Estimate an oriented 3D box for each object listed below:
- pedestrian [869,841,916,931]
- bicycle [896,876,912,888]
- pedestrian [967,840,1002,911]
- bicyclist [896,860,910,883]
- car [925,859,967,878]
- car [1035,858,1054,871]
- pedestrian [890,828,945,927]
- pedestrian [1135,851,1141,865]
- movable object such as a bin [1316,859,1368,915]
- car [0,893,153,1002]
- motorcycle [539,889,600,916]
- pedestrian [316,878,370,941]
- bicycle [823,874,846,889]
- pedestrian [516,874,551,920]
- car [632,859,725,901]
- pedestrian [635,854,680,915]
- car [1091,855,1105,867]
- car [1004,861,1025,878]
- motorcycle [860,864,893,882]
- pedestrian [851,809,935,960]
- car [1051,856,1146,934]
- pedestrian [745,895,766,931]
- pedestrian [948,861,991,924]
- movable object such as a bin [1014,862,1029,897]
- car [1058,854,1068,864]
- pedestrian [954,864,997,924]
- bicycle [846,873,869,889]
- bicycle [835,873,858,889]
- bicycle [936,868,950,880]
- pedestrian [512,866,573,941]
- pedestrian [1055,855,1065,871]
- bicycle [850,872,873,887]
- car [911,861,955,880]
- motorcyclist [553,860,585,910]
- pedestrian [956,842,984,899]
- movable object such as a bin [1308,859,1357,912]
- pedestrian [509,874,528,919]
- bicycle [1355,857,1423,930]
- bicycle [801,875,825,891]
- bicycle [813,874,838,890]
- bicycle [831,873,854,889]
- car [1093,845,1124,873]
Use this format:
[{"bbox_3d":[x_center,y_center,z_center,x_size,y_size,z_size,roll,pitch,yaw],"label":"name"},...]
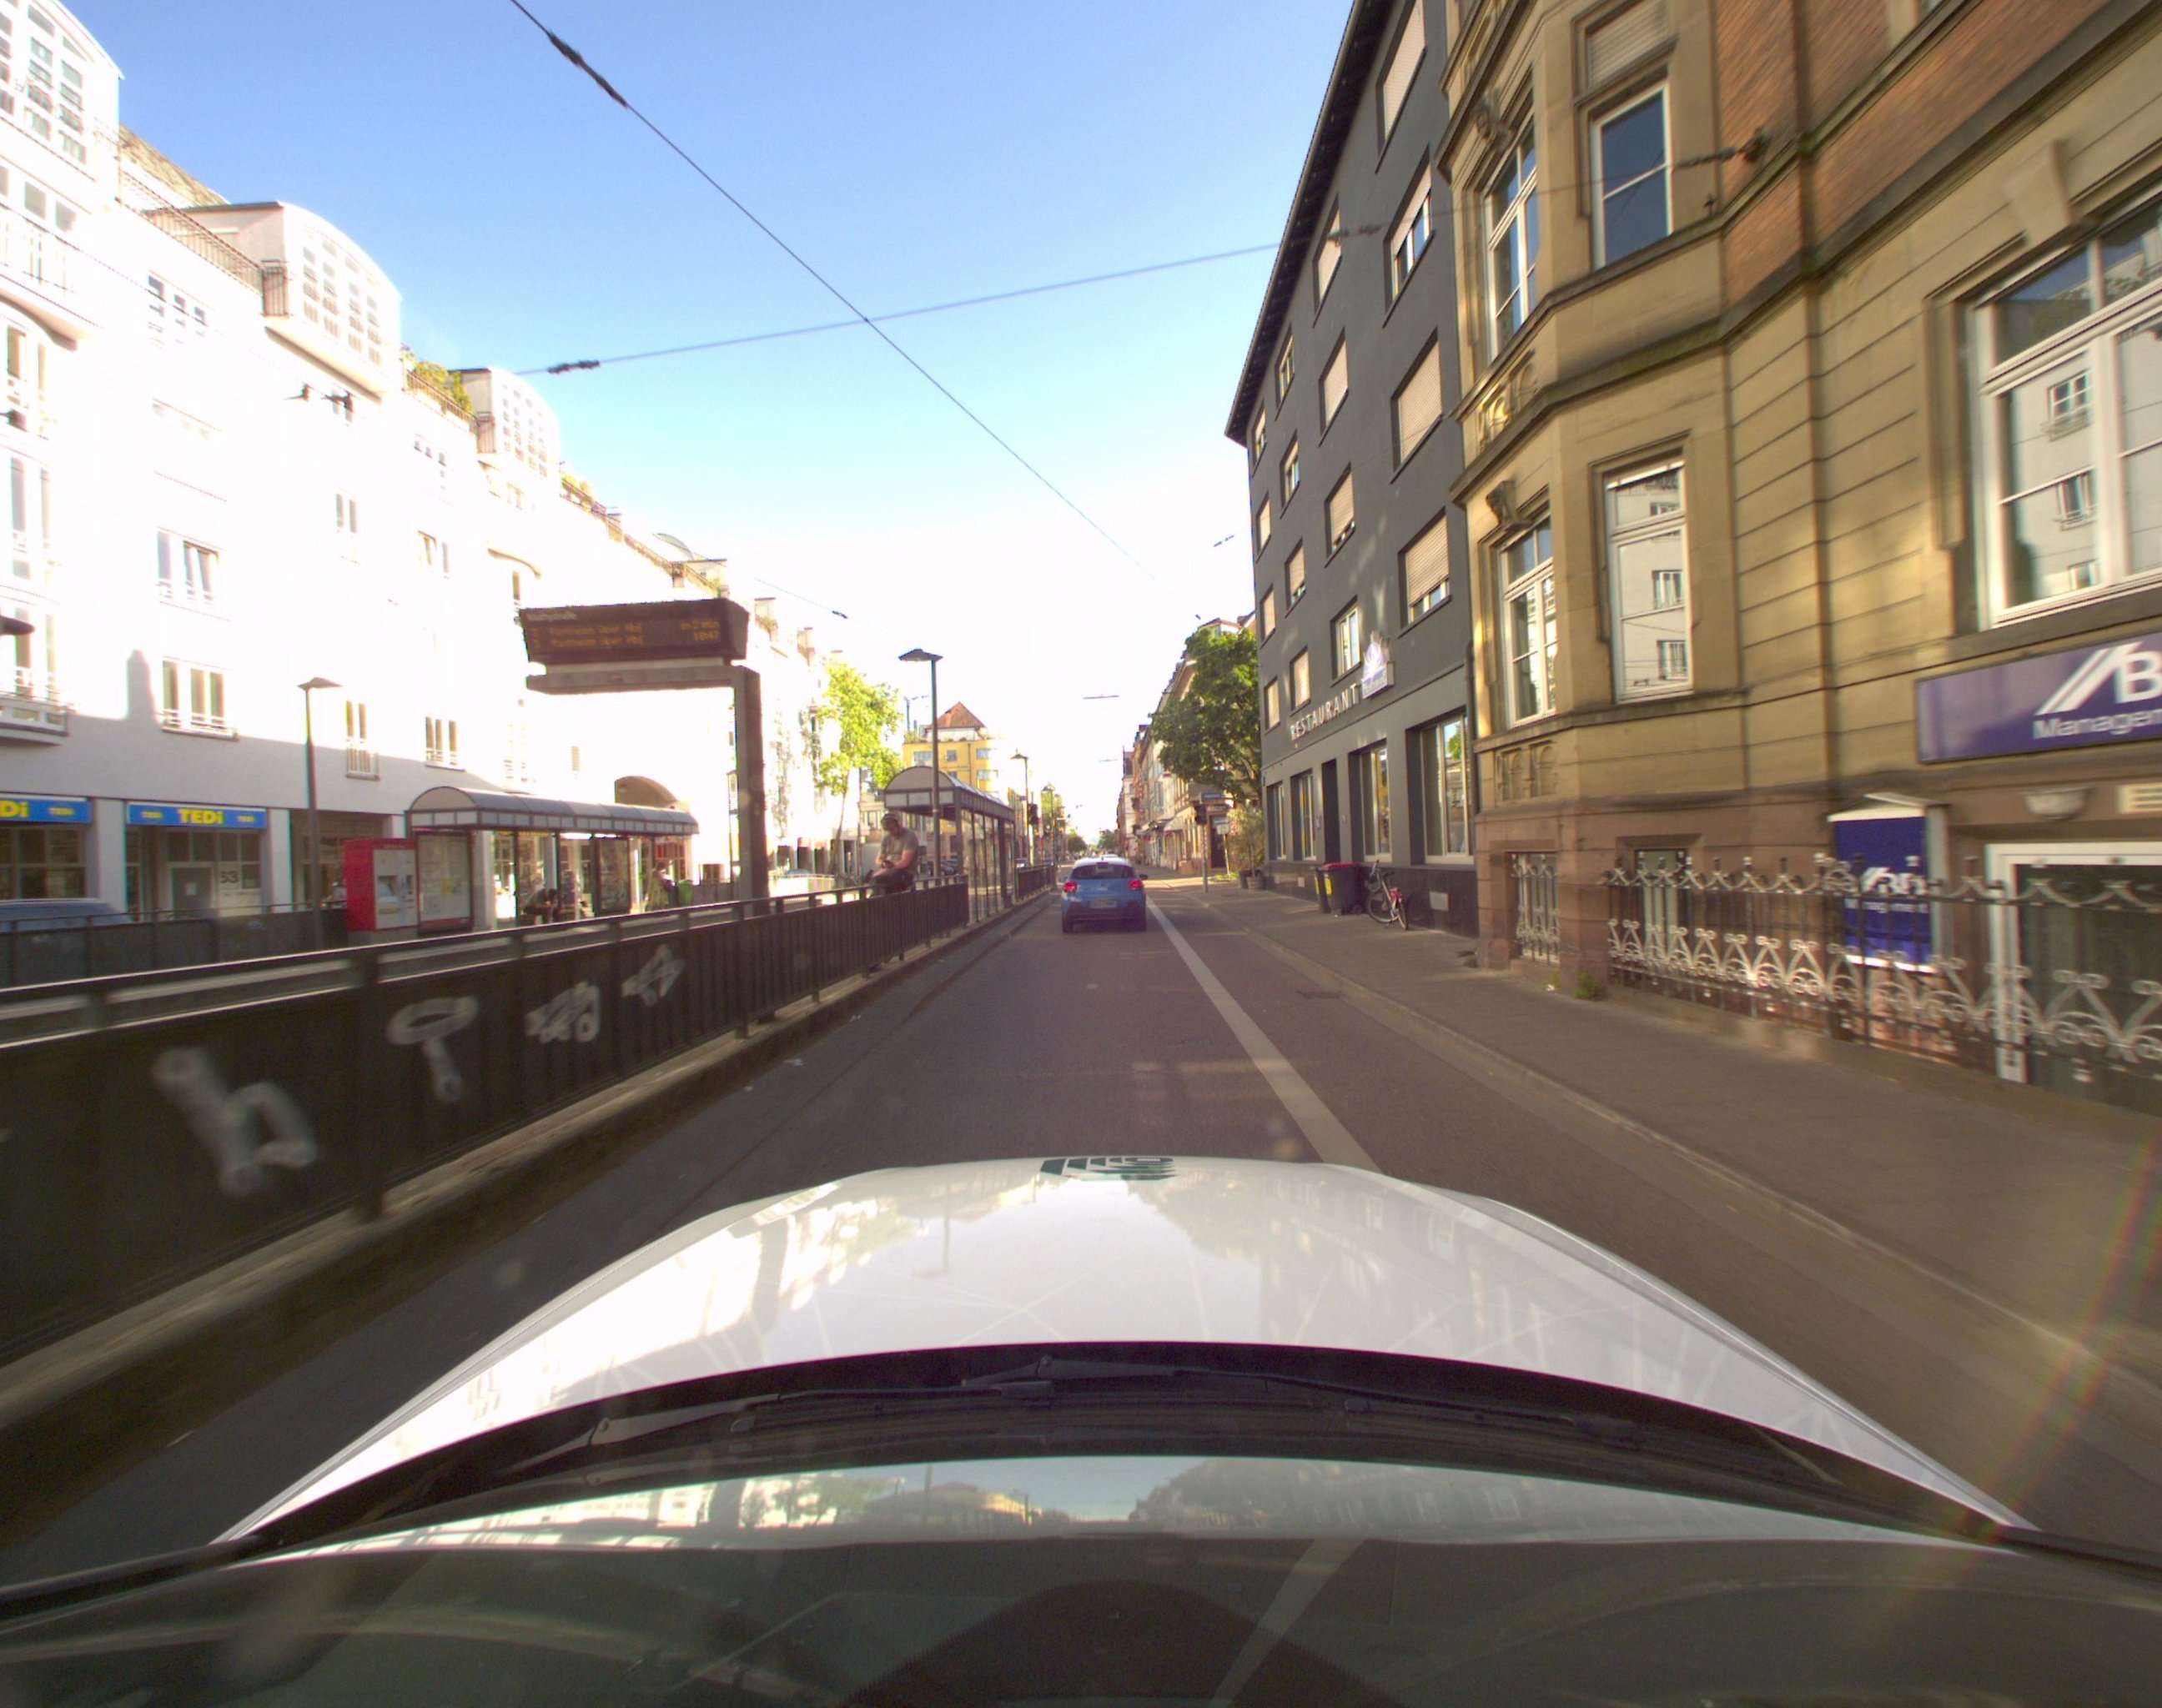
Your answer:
[{"bbox_3d":[-3.373,0.569,14.576,0.579,1.562,0.473,-4,0,37],"label":"pedestrian"},{"bbox_3d":[-12.751,1.999,58.650,0.564,0.757,1.939,-3,0,3],"label":"bicycle"},{"bbox_3d":[-2.464,0.550,20.762,0.566,1.750,0.713,-3,0,-27],"label":"pedestrian"},{"bbox_3d":[-12.817,1.251,58.654,0.669,1.557,0.778,-3,0,2],"label":"bicyclist"},{"bbox_3d":[-14.215,1.501,85.930,3.977,1.848,1.956,-3,0,-2],"label":"car"},{"bbox_3d":[-4.605,1.272,102.732,1.943,1.486,4.003,-4,0,3],"label":"car"},{"bbox_3d":[-3.011,0.426,14.999,0.710,1.777,0.569,-4,0,37],"label":"pedestrian"},{"bbox_3d":[6.960,0.442,99.618,0.690,1.651,0.680,-3,0,1],"label":"pedestrian"},{"bbox_3d":[5.362,0.662,16.763,0.745,1.036,0.754,-7,-1,2],"label":"movable object such as a bin"},{"bbox_3d":[-17.001,1.485,12.280,1.684,1.509,3.648,-3,1,2],"label":"car"},{"bbox_3d":[-15.545,1.469,24.814,0.491,0.720,2.007,-1,-1,3],"label":"motorcycle"},{"bbox_3d":[-20.027,1.492,22.116,0.840,1.621,0.597,-3,0,-3],"label":"pedestrian"},{"bbox_3d":[-16.390,1.815,54.182,0.387,0.941,1.505,-3,0,37],"label":"bicycle"},{"bbox_3d":[-20.201,1.561,30.062,0.593,1.621,0.845,-3,0,2],"label":"pedestrian"},{"bbox_3d":[-15.804,0.994,32.167,1.684,1.421,3.648,-3,1,2],"label":"car"},{"bbox_3d":[-11.220,0.796,21.612,0.729,1.559,0.743,-3,0,0],"label":"pedestrian"},{"bbox_3d":[2.530,1.070,119.595,1.986,1.743,4.001,-1,-1,2],"label":"car"},{"bbox_3d":[-7.117,1.655,87.644,1.747,1.615,4.826,-5,0,-1],"label":"car"},{"bbox_3d":[-16.866,1.552,67.159,2.506,1.288,0.668,-3,0,-2],"label":"motorcycle"},{"bbox_3d":[-2.220,0.358,9.699,0.633,1.698,0.935,-2,-1,9],"label":"pedestrian"},{"bbox_3d":[0.392,0.787,17.352,1.774,1.451,3.655,-1,0,2],"label":"car"},{"bbox_3d":[-14.722,2.680,36.867,0.578,1.559,0.684,-3,0,0],"label":"pedestrian"},{"bbox_3d":[-2.369,0.812,17.395,0.708,1.272,0.657,-3,0,4],"label":"pedestrian"},{"bbox_3d":[-1.780,0.765,24.249,0.345,1.007,0.404,-3,0,3],"label":"movable object such as a bin"},{"bbox_3d":[-3.770,1.121,175.309,1.987,2.014,3.999,-1,-1,0],"label":"car"},{"bbox_3d":[-2.362,0.883,18.283,0.761,1.272,0.720,-3,0,4],"label":"pedestrian"},{"bbox_3d":[-15.163,1.835,55.212,0.387,0.941,1.505,-3,0,37],"label":"bicycle"},{"bbox_3d":[-15.384,1.772,53.418,0.387,0.941,1.505,-3,0,37],"label":"bicycle"},{"bbox_3d":[-12.631,1.860,74.725,0.677,1.002,2.688,-3,0,3],"label":"bicycle"},{"bbox_3d":[-11.587,1.055,17.541,0.729,1.527,0.743,-3,0,0],"label":"pedestrian"},{"bbox_3d":[-2.175,0.955,84.510,0.842,1.654,0.691,-3,0,-27],"label":"pedestrian"},{"bbox_3d":[-14.811,1.712,54.930,0.387,0.941,1.505,-3,0,37],"label":"bicycle"},{"bbox_3d":[-14.786,1.664,81.530,3.977,1.674,1.956,-3,0,-2],"label":"car"},{"bbox_3d":[-15.522,0.929,24.680,0.485,1.502,0.722,-1,-1,2],"label":"motorcyclist"},{"bbox_3d":[-3.137,0.459,22.991,0.619,1.558,0.568,-3,-1,2],"label":"pedestrian"},{"bbox_3d":[5.397,0.662,17.519,0.745,1.036,0.754,-7,-1,2],"label":"movable object such as a bin"},{"bbox_3d":[-20.751,1.560,30.052,0.359,1.664,0.492,-1,-2,2],"label":"pedestrian"},{"bbox_3d":[5.182,0.629,13.810,0.457,1.123,1.774,-4,0,2],"label":"bicycle"},{"bbox_3d":[-17.461,1.858,53.056,0.387,0.941,1.505,-3,0,37],"label":"bicycle"},{"bbox_3d":[-16.377,1.791,52.181,0.387,0.941,1.505,-3,0,37],"label":"bicycle"},{"bbox_3d":[-15.727,1.785,53.677,0.387,0.941,1.505,-3,0,37],"label":"bicycle"},{"bbox_3d":[1.836,0.361,54.894,1.986,1.743,4.001,-1,-1,2],"label":"car"}]
